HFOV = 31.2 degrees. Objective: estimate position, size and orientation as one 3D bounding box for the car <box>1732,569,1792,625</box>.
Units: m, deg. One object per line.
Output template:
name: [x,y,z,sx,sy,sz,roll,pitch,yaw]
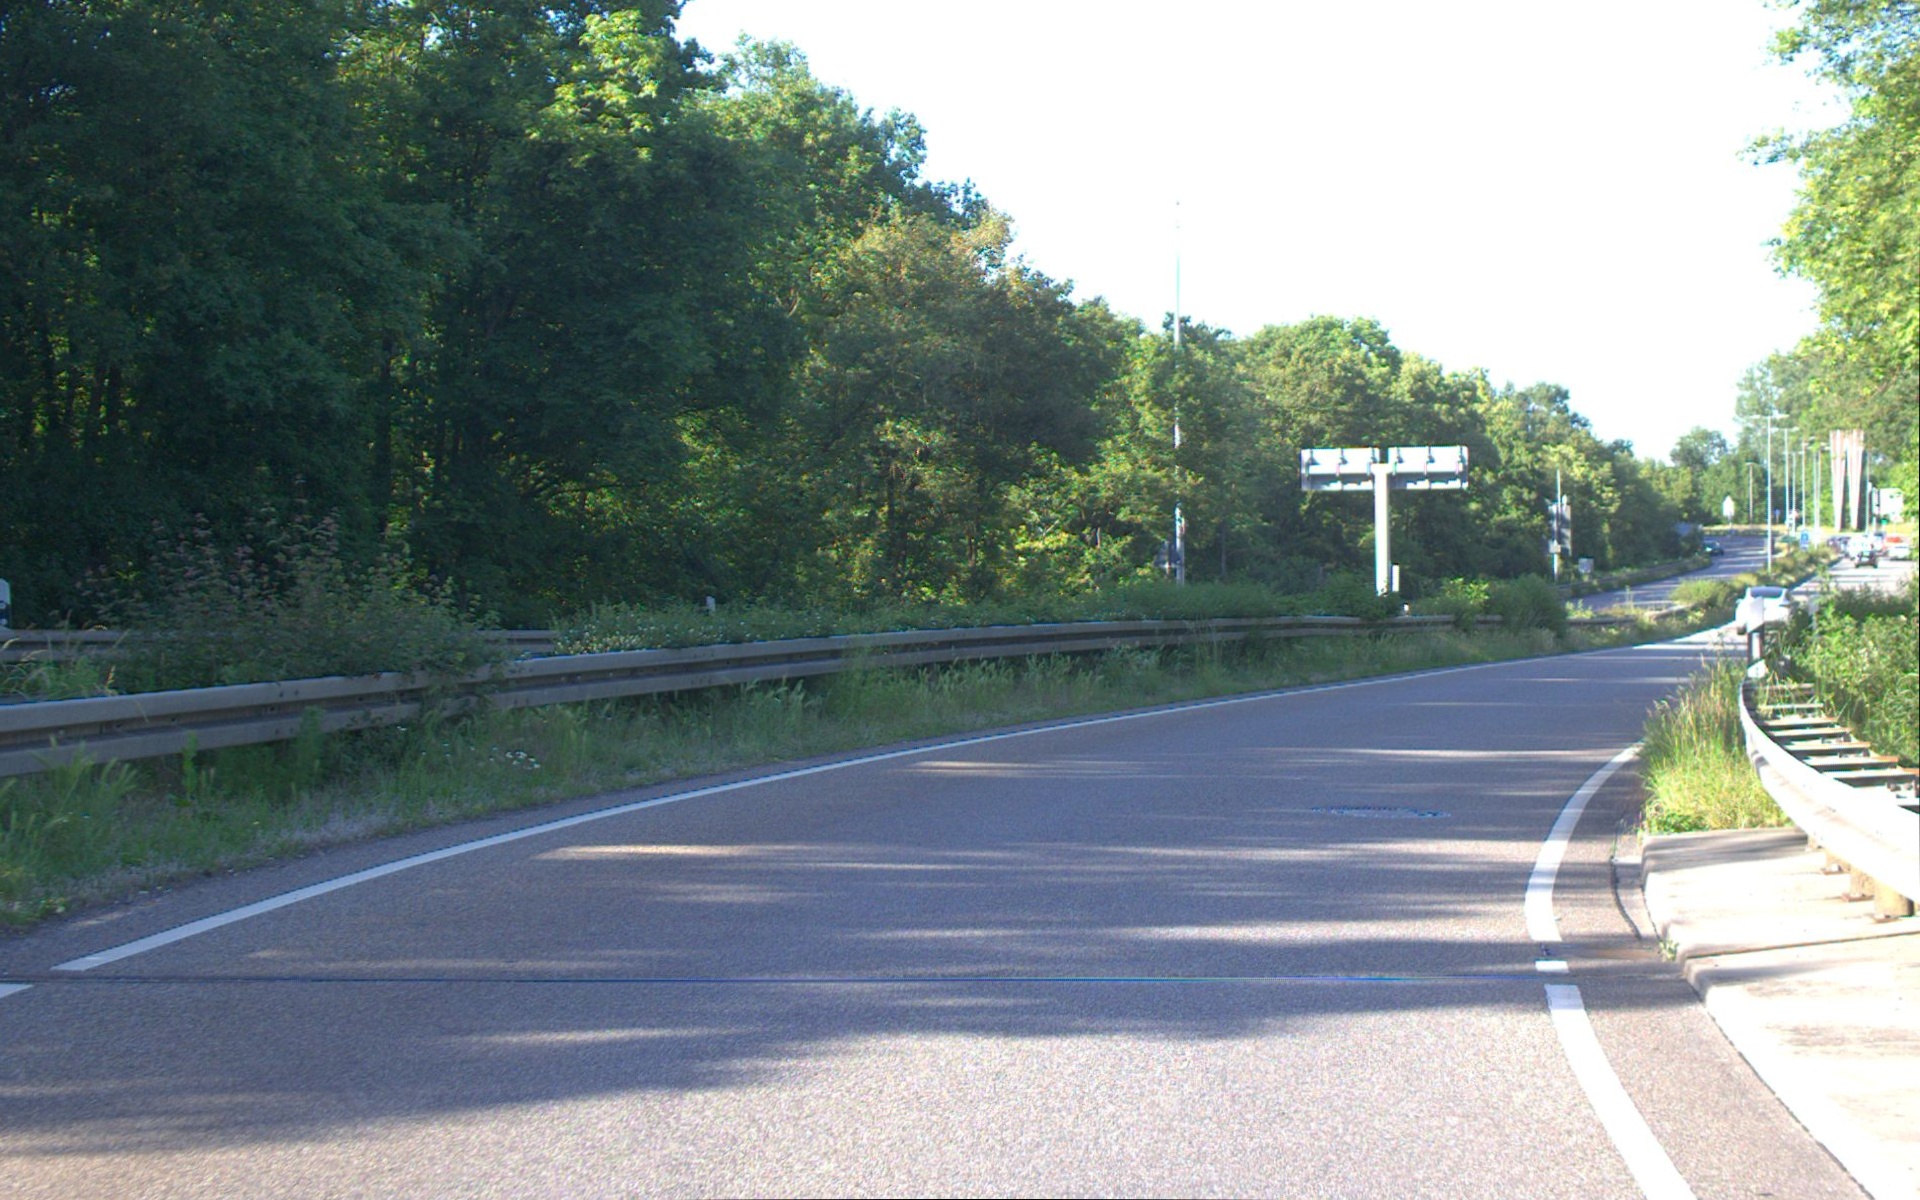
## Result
car: [27.179,-0.112,116.642,1.886,1.809,3.998,2,1,13]
